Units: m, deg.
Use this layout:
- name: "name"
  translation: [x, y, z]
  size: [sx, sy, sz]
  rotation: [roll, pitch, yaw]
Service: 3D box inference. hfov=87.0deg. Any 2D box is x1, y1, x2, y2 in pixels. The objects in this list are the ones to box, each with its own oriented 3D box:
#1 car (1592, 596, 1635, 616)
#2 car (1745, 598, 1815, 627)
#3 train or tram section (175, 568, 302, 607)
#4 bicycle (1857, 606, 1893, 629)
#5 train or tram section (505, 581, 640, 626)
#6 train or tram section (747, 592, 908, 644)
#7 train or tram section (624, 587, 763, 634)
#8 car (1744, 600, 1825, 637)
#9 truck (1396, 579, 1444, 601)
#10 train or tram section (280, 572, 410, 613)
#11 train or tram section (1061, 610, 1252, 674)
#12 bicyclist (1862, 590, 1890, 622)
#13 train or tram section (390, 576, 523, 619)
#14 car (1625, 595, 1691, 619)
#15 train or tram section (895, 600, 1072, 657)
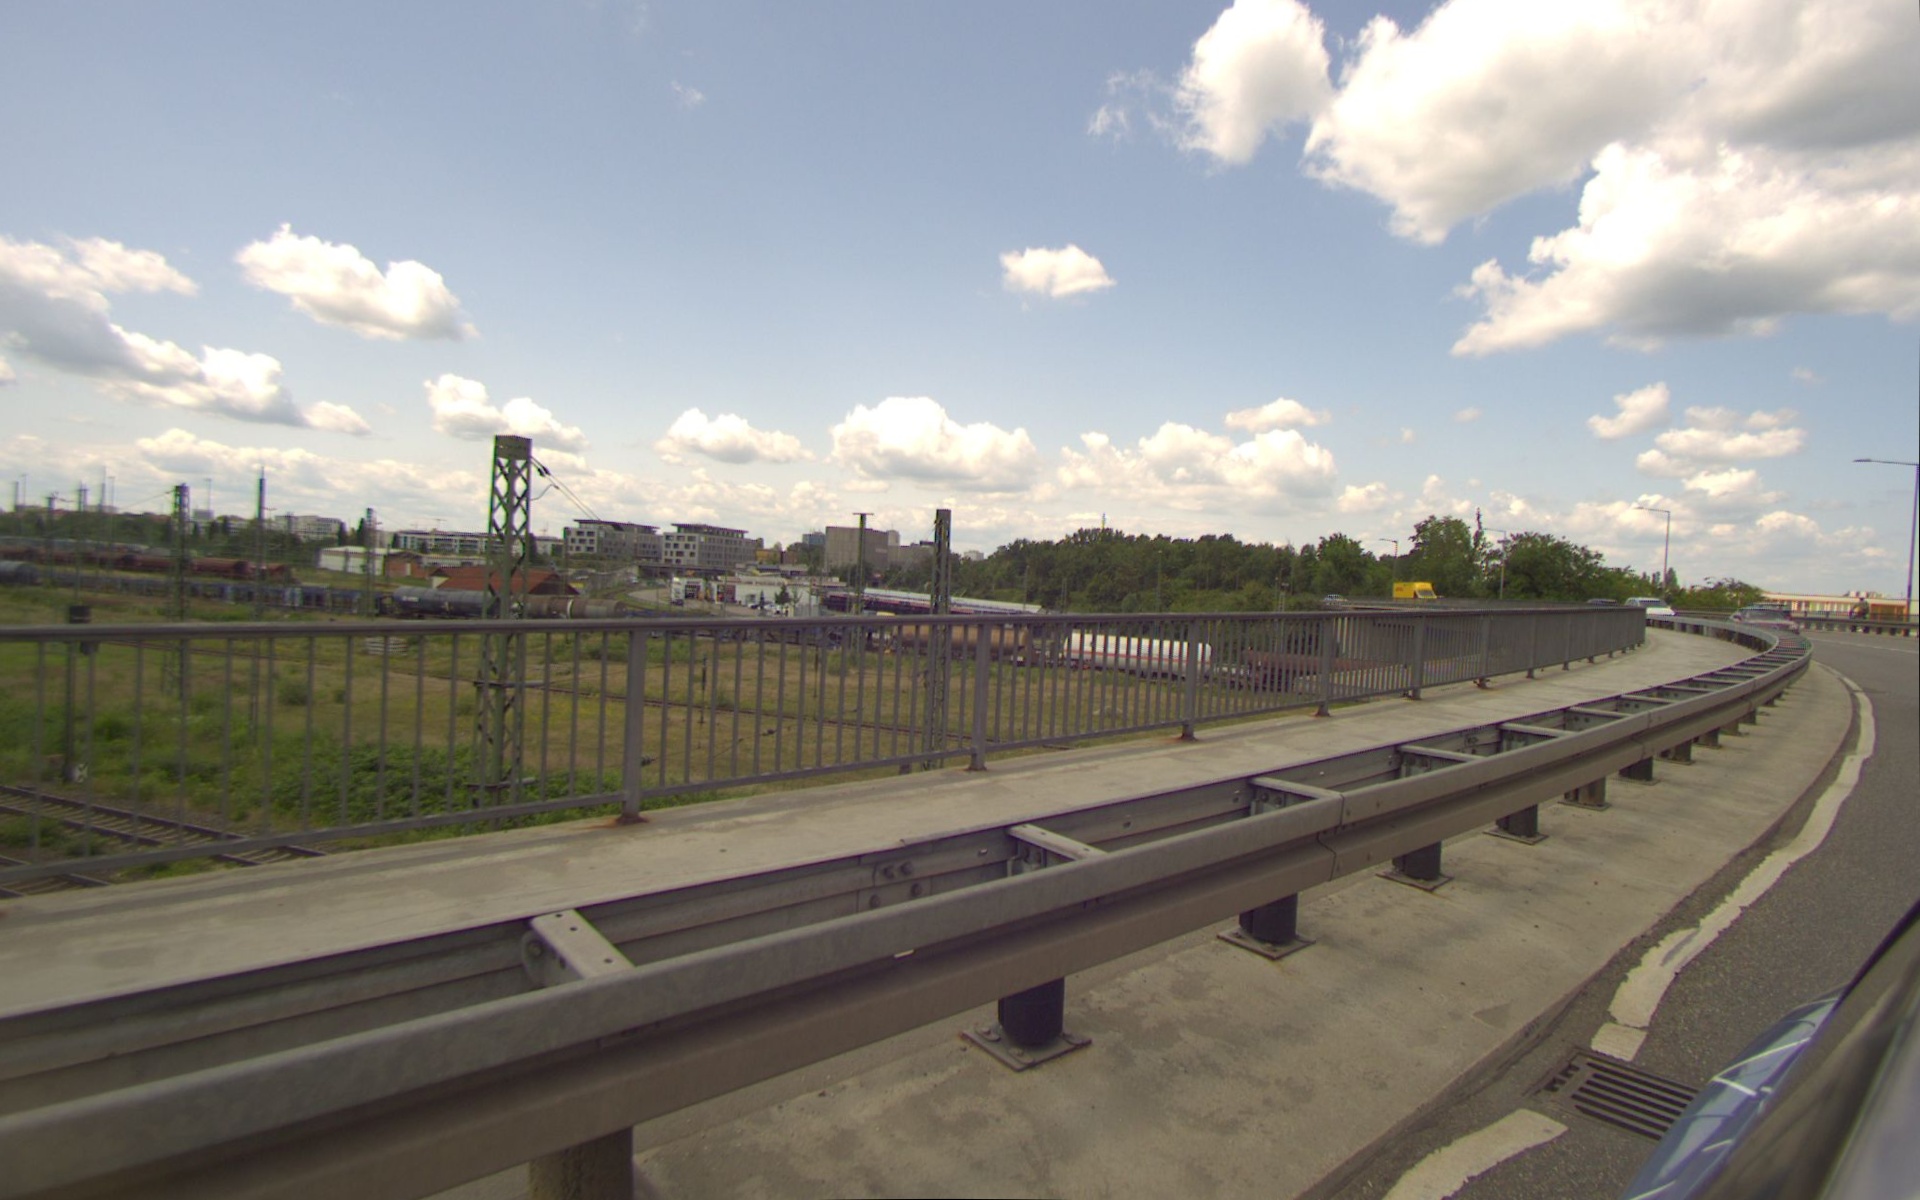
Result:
- name: "car"
  translation: [50.406, 0.470, 78.177]
  size: [1.801, 1.469, 4.703]
  rotation: [1, 0, 21]
- name: "car"
  translation: [43.431, 0.626, 53.697]
  size: [1.799, 1.470, 3.897]
  rotation: [0, 0, 22]
- name: "train or tram section"
  translation: [-90.640, -1.662, 127.167]
  size: [15.719, 4.202, 3.204]
  rotation: [2, 4, 12]
- name: "bicycle"
  translation: [47.182, 0.895, 52.231]
  size: [0.763, 1.108, 2.097]
  rotation: [2, 1, 25]
- name: "train or tram section"
  translation: [-44.625, 0.335, 116.533]
  size: [15.738, 4.202, 3.200]
  rotation: [2, 4, 15]
- name: "train or tram section"
  translation: [-14.042, 1.780, 106.057]
  size: [17.491, 4.201, 3.191]
  rotation: [3, 4, 22]
- name: "train or tram section"
  translation: [-29.546, 1.019, 111.877]
  size: [15.759, 4.201, 3.196]
  rotation: [3, 4, 19]
- name: "car"
  translation: [32.897, 0.706, 40.476]
  size: [1.813, 1.355, 3.959]
  rotation: [0, 0, 29]
- name: "truck"
  translation: [48.396, -1.067, 106.682]
  size: [1.961, 2.038, 6.150]
  rotation: [2, 2, -2]
- name: "train or tram section"
  translation: [-75.283, -0.988, 123.844]
  size: [15.719, 4.202, 3.204]
  rotation: [2, 4, 12]
- name: "train or tram section"
  translation: [17.485, 3.613, 91.416]
  size: [16.822, 4.201, 3.186]
  rotation: [4, 5, 30]
- name: "bicyclist"
  translation: [47.126, 0.294, 52.080]
  size: [0.762, 1.622, 0.939]
  rotation: [2, 1, 25]
- name: "train or tram section"
  translation: [-59.914, -0.368, 120.402]
  size: [15.725, 4.202, 3.202]
  rotation: [2, 4, 13]
- name: "car"
  translation: [41.129, 0.400, 59.714]
  size: [1.931, 1.355, 3.981]
  rotation: [-1, 0, 15]
- name: "train or tram section"
  translation: [2.117, 2.640, 99.180]
  size: [17.504, 4.201, 3.189]
  rotation: [3, 4, 24]
